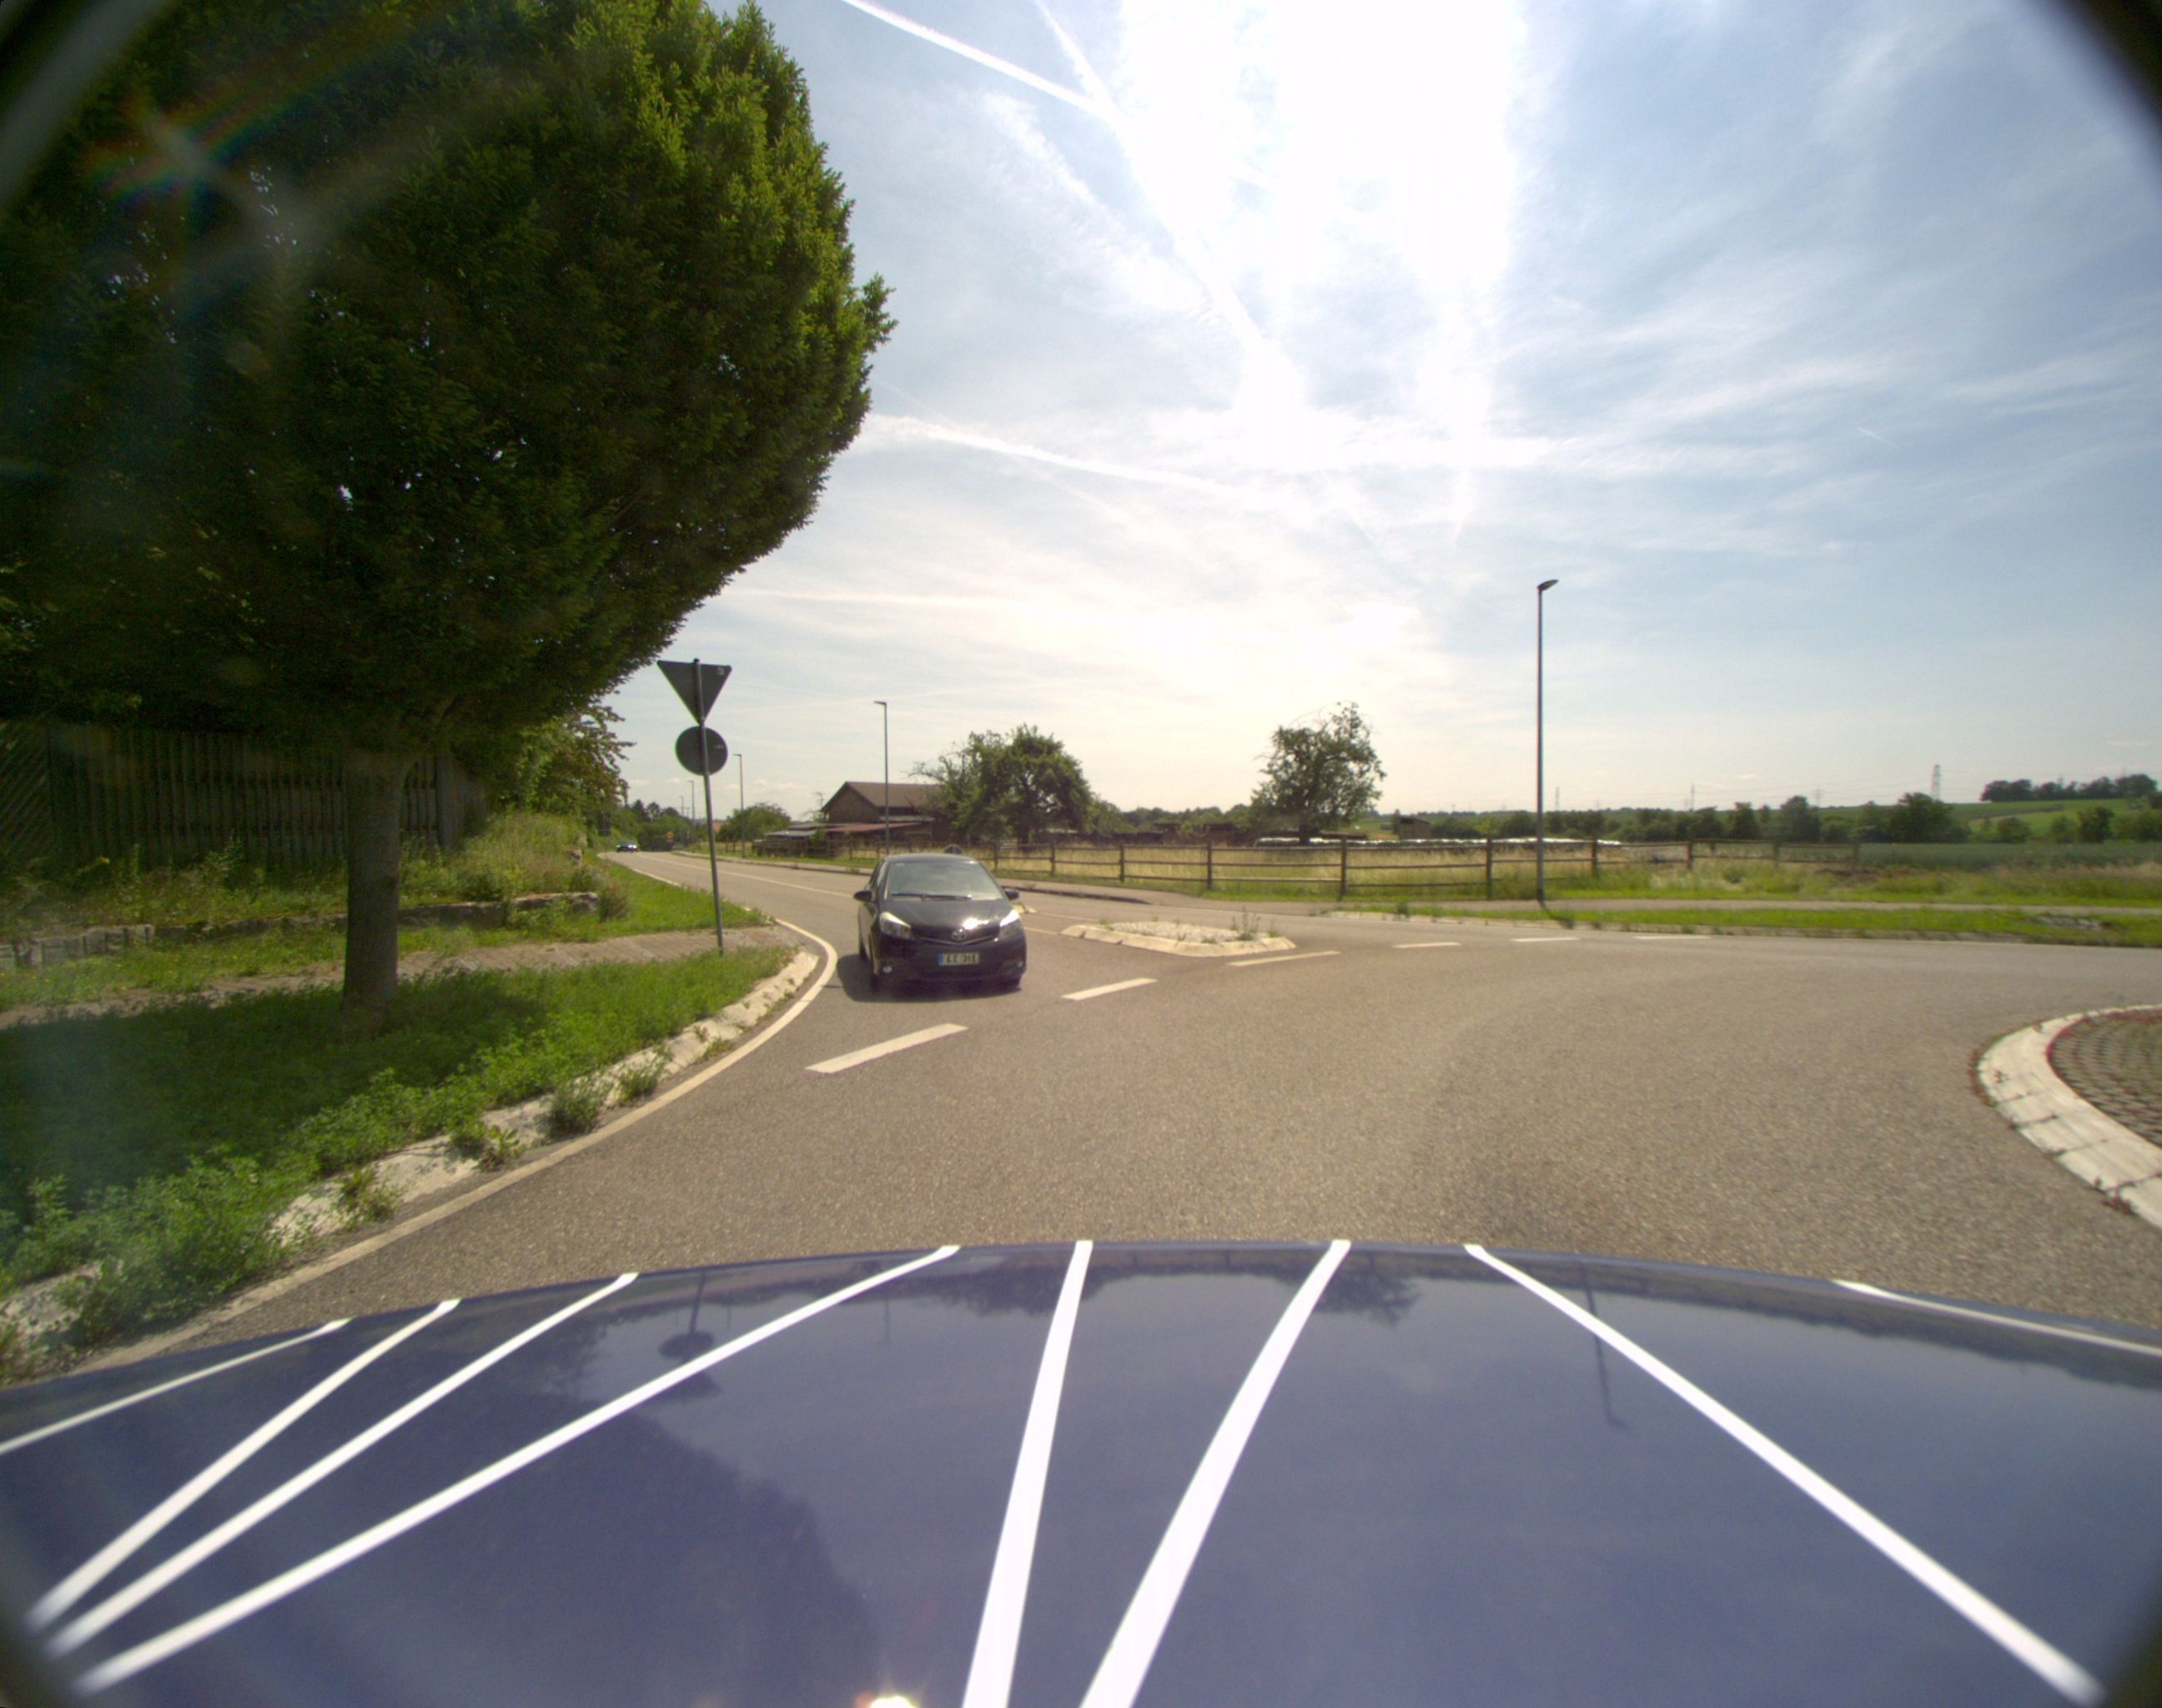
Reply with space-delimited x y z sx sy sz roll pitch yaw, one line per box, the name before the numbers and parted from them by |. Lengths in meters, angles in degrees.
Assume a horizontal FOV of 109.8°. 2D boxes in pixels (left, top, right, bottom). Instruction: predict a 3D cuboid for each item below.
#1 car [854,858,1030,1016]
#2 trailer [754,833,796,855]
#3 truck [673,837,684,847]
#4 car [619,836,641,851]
car | -2.003 0.828 9.792 1.680 1.456 4.425 0 1 -18
trailer | -25.334 -0.839 62.717 2.166 1.693 5.015 0 1 -35
truck | -95.908 -2.864 181.075 2.233 2.280 6.475 0 2 -29
car | -60.578 -1.426 102.002 2.197 2.003 4.767 -3 3 -34
